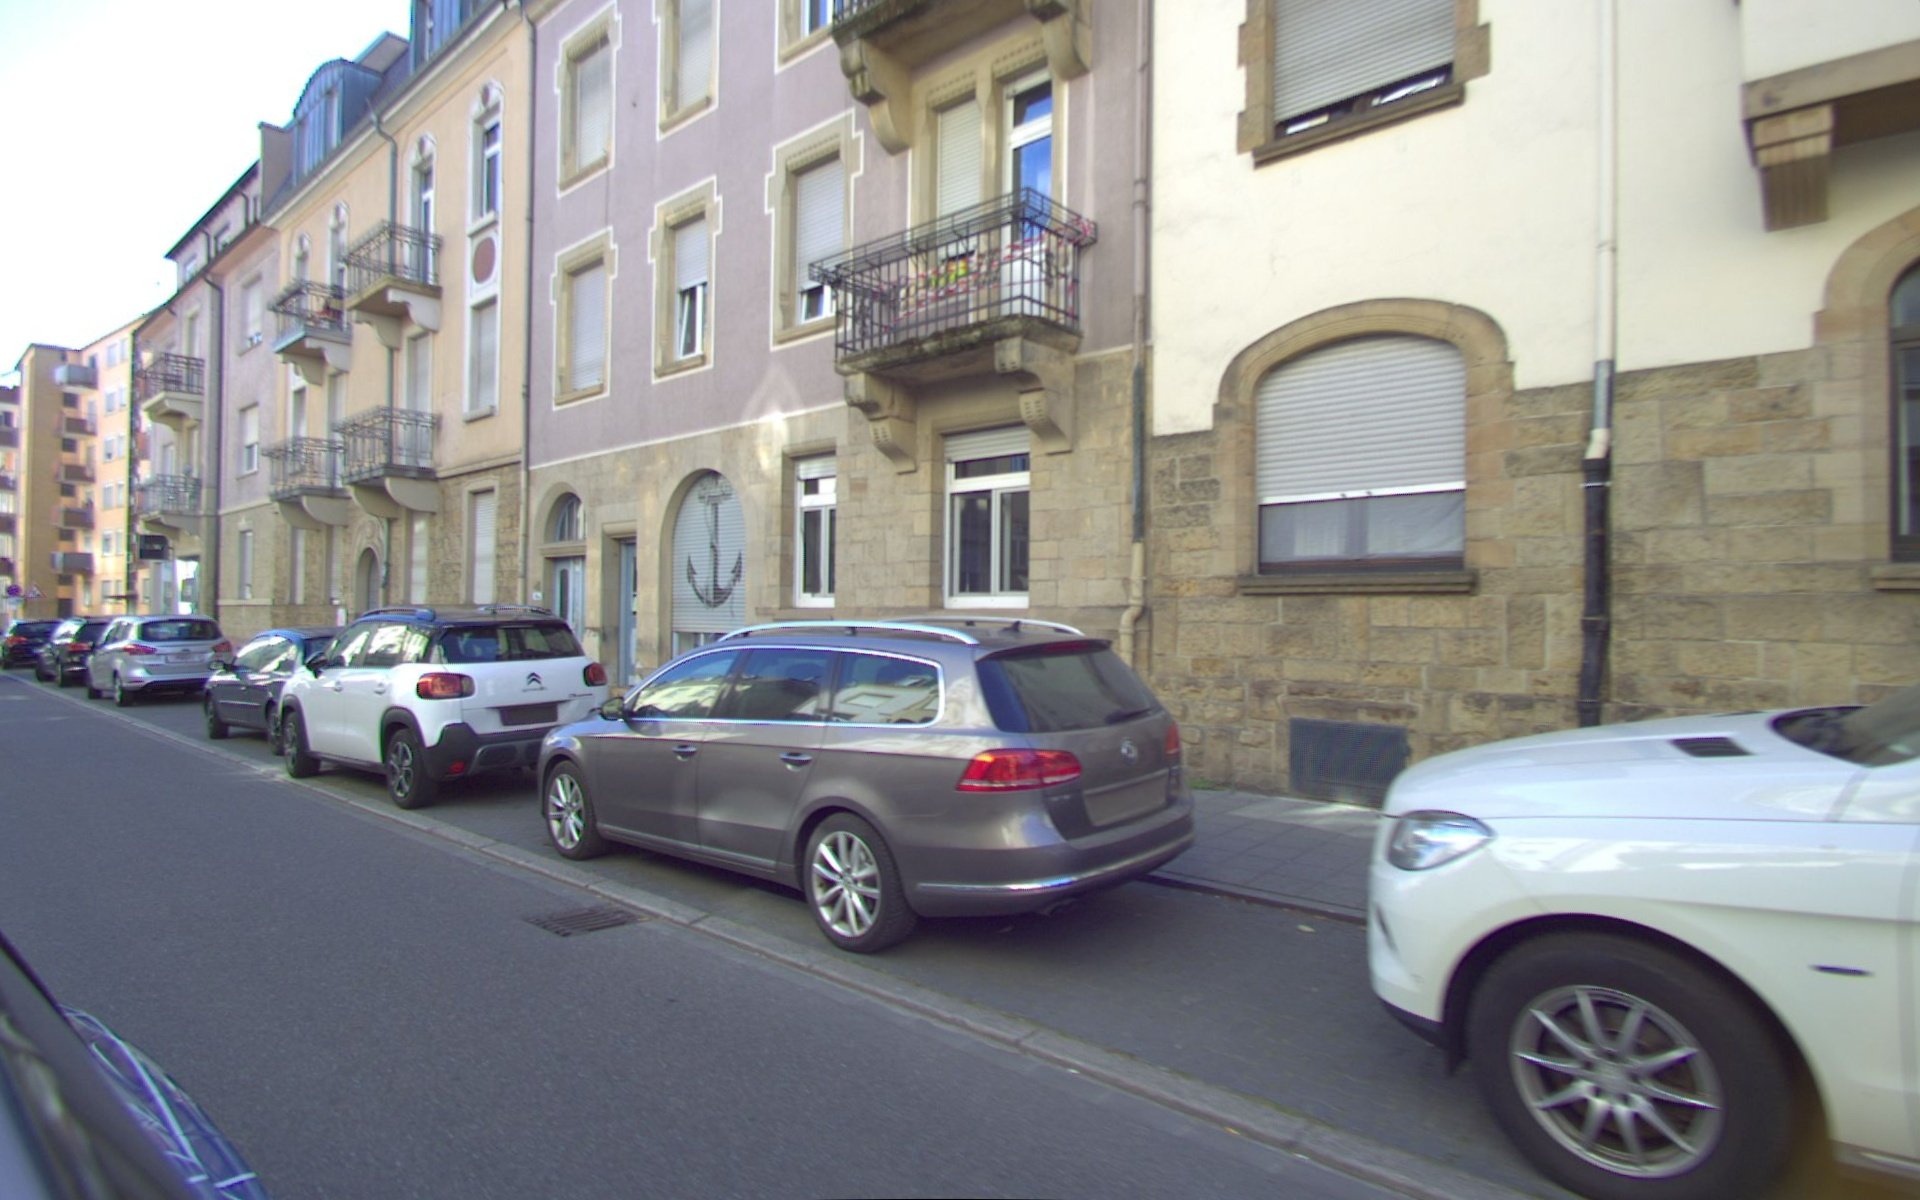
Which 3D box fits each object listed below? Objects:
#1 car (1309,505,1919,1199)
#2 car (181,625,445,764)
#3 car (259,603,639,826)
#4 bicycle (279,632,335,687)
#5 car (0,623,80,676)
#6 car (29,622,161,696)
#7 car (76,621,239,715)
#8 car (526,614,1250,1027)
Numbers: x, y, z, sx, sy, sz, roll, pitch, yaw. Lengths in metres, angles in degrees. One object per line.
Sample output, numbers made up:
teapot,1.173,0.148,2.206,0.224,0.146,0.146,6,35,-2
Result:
car,3.414,0.634,2.081,4.725,1.735,1.872,-2,0,42
car,-8.128,1.059,12.615,3.662,1.403,1.656,-1,1,39
car,-4.883,0.886,9.432,4.017,1.595,1.697,-1,1,40
bicycle,-14.889,1.338,23.055,1.647,1.221,0.562,-1,-3,39
car,-27.514,1.427,29.996,3.864,1.397,1.696,-1,1,43
car,-19.837,1.286,23.151,4.108,1.533,1.696,-1,-3,41
car,-14.901,1.180,18.735,3.721,1.550,1.697,-2,-1,40
car,-0.710,0.860,5.750,4.278,1.498,1.557,-1,-1,42
